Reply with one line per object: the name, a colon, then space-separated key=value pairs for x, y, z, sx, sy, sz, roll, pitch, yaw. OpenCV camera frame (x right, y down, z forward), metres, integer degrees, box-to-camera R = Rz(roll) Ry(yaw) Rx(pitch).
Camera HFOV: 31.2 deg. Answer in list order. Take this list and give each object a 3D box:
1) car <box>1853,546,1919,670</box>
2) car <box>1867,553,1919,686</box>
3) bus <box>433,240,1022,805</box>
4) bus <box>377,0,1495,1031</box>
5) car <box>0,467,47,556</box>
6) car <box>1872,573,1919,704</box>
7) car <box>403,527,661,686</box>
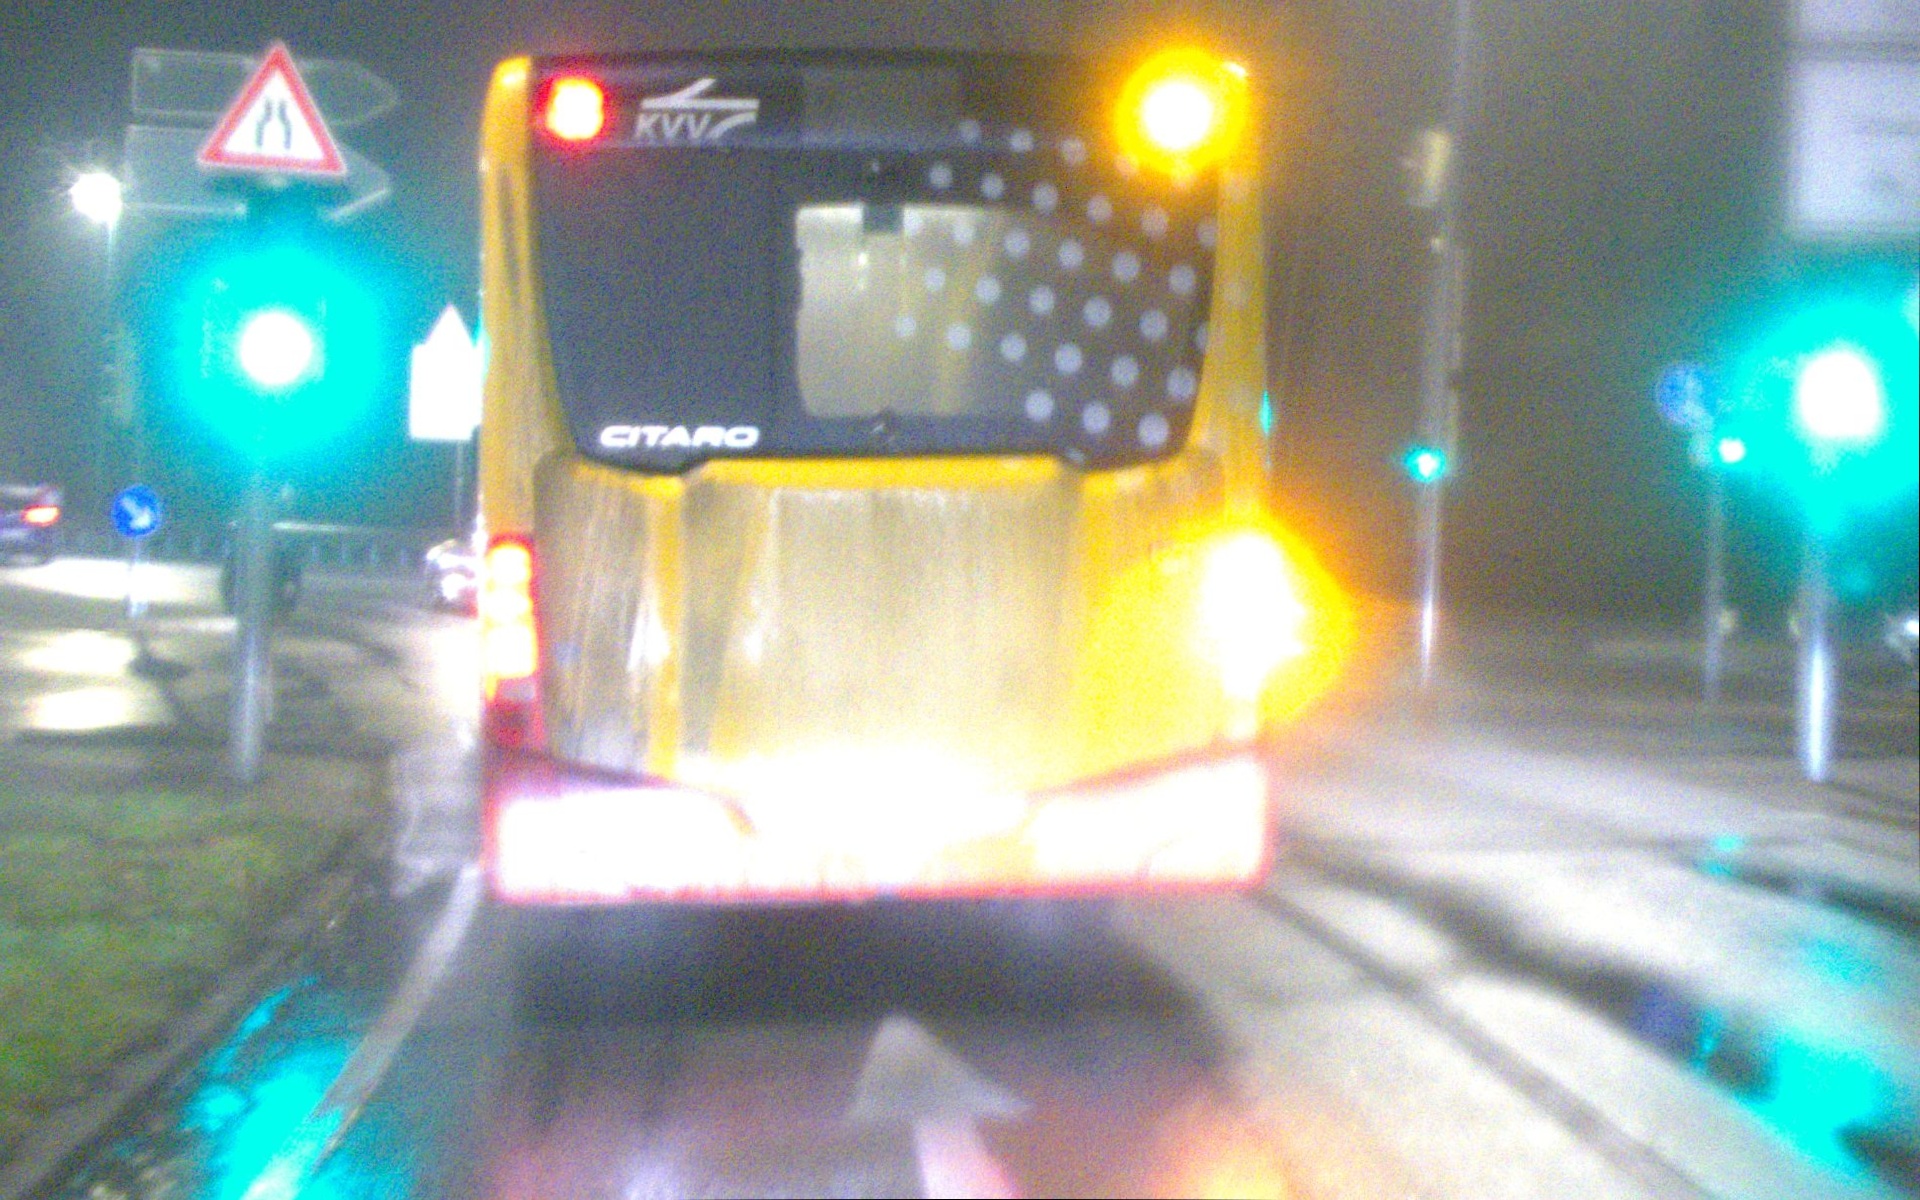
car: x=13.931 y=0.172 z=44.457 sx=4.163 sy=1.513 sz=1.857 roll=2 pitch=2 yaw=-4
car: x=13.437 y=0.309 z=41.322 sx=4.482 sy=1.513 sz=1.857 roll=2 pitch=2 yaw=-4
bus: x=-1.802 y=-0.588 z=24.224 sx=3.246 sy=3.109 sz=8.647 roll=3 pitch=2 yaw=-6
bus: x=-0.574 y=-0.329 z=14.928 sx=3.284 sy=3.040 sz=9.545 roll=-1 pitch=1 yaw=-6
car: x=-18.641 y=-1.680 z=64.783 sx=1.816 sy=1.612 sz=4.001 roll=2 pitch=0 yaw=-29
car: x=12.209 y=0.493 z=37.357 sx=4.042 sy=1.341 sz=1.747 roll=2 pitch=2 yaw=-4
car: x=-5.859 y=0.057 z=46.631 sx=1.993 sy=2.007 sz=4.349 roll=2 pitch=0 yaw=-28
